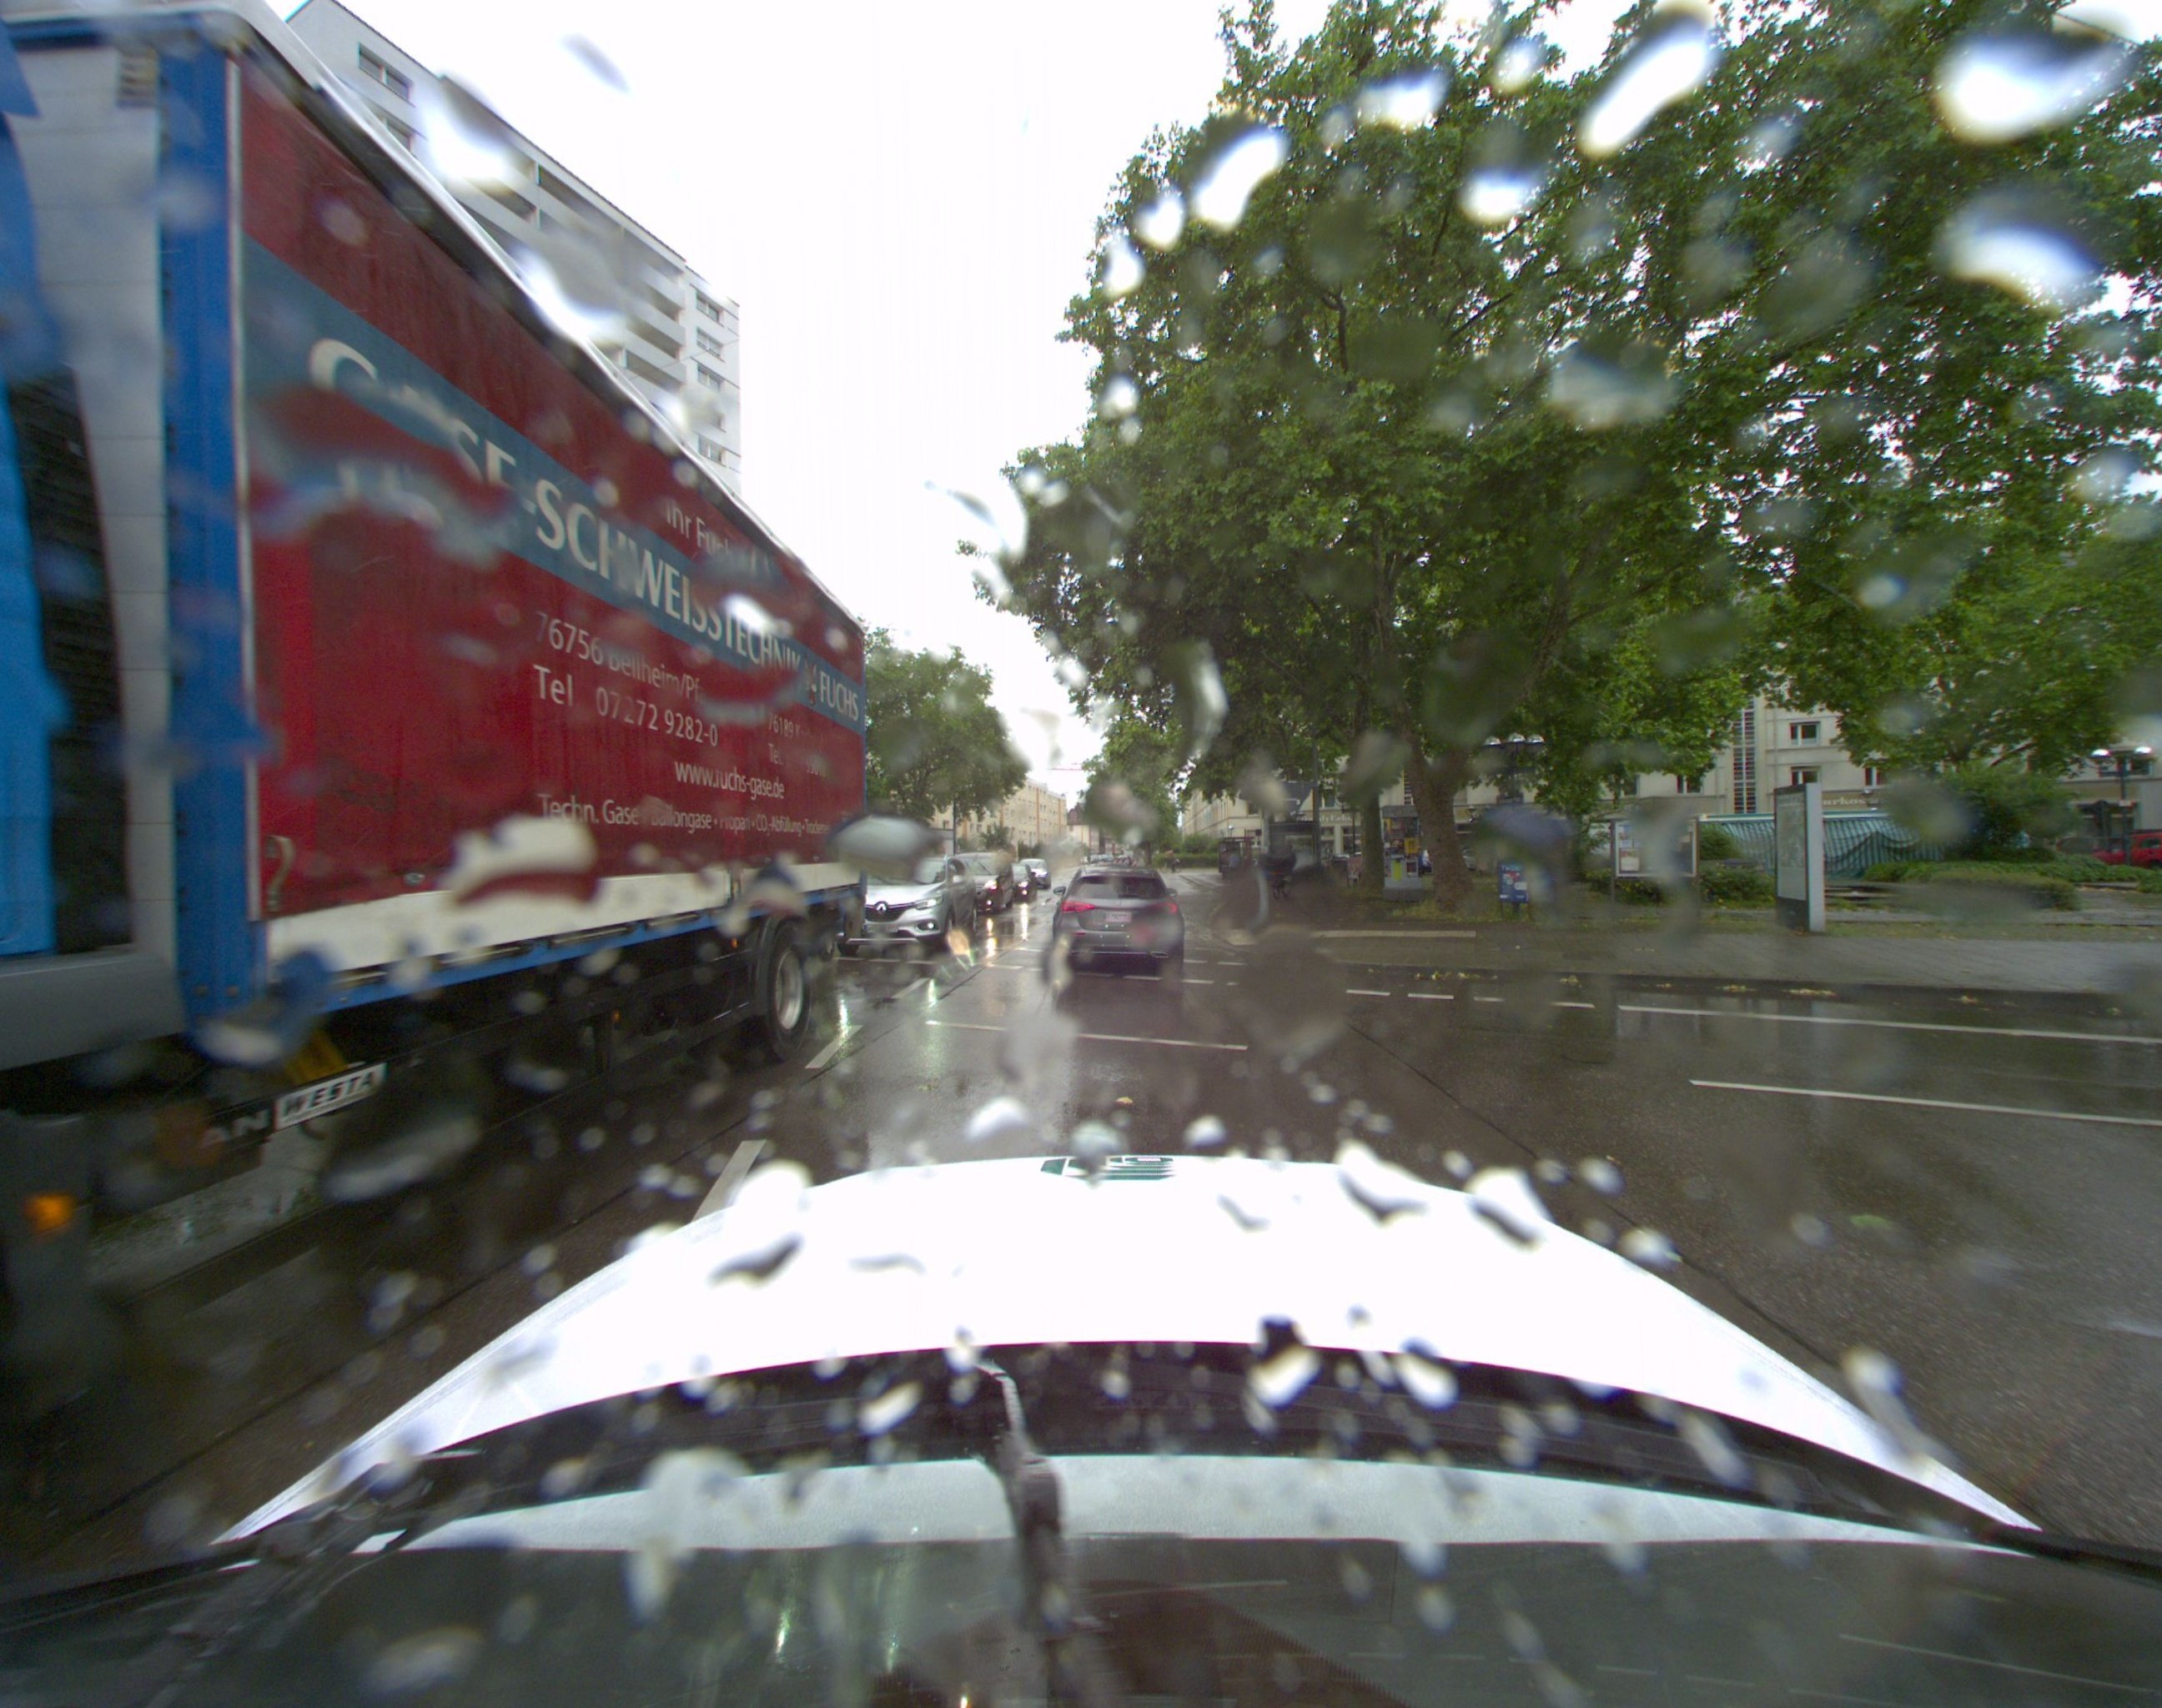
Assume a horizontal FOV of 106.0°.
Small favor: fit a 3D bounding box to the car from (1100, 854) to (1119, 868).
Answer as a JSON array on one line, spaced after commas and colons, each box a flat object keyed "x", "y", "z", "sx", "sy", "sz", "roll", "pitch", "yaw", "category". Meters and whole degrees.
[{"x": 3.303, "y": 0.816, "z": 94.402, "sx": 1.987, "sy": 1.574, "sz": 4.000, "roll": -1, "pitch": 0, "yaw": 0, "category": "car"}]

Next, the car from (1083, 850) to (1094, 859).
[{"x": 1.616, "y": 0.178, "z": 170.390, "sx": 1.880, "sy": 1.836, "sz": 4.006, "roll": -1, "pitch": 0, "yaw": 5, "category": "car"}]

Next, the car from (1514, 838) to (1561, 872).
[{"x": 26.746, "y": 0.083, "z": 47.833, "sx": 2.135, "sy": 1.838, "sz": 4.023, "roll": -2, "pitch": -2, "yaw": 26, "category": "car"}]

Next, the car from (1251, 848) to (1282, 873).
[{"x": 12.333, "y": 0.457, "z": 54.064, "sx": 1.675, "sy": 1.551, "sz": 3.537, "roll": -2, "pitch": -2, "yaw": 17, "category": "car"}]

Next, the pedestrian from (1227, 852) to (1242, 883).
[{"x": 8.230, "y": 0.714, "z": 43.708, "sx": 0.713, "sy": 1.669, "sz": 0.666, "roll": -1, "pitch": 0, "yaw": 3, "category": "pedestrian"}]

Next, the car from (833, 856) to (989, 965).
[{"x": -2.801, "y": 0.854, "z": 14.317, "sx": 1.736, "sy": 1.604, "sz": 4.002, "roll": -1, "pitch": 0, "yaw": 2, "category": "car"}]

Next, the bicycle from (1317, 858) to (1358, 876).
[{"x": 15.104, "y": 0.764, "z": 47.990, "sx": 2.261, "sy": 0.983, "sz": 0.548, "roll": -2, "pitch": 0, "yaw": 24, "category": "bicycle"}]

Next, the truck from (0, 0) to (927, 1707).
[{"x": -3.311, "y": -0.500, "z": 4.739, "sx": 2.837, "sy": 4.025, "sz": 10.312, "roll": -2, "pitch": 0, "yaw": -1, "category": "truck"}]

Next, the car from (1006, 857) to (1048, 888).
[{"x": -2.772, "y": 0.928, "z": 42.690, "sx": 1.839, "sy": 1.510, "sz": 4.055, "roll": -1, "pitch": 0, "yaw": 0, "category": "car"}]

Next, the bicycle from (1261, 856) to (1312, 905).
[{"x": 6.466, "y": 0.799, "z": 25.526, "sx": 0.742, "sy": 1.377, "sz": 2.724, "roll": -2, "pitch": 0, "yaw": 31, "category": "bicycle"}]

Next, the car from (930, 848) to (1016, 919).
[{"x": -3.062, "y": 0.780, "z": 23.886, "sx": 1.800, "sy": 1.861, "sz": 4.111, "roll": -1, "pitch": 0, "yaw": 2, "category": "car"}]

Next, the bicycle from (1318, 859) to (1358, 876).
[{"x": 15.321, "y": 0.816, "z": 48.597, "sx": 2.231, "sy": 0.968, "sz": 0.537, "roll": -2, "pitch": 0, "yaw": 24, "category": "bicycle"}]

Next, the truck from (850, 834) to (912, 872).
[{"x": -20.609, "y": -0.094, "z": 84.070, "sx": 5.654, "sy": 3.645, "sz": 2.179, "roll": -1, "pitch": -1, "yaw": 5, "category": "truck"}]

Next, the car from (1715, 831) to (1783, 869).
[{"x": 34.958, "y": -0.151, "z": 42.742, "sx": 1.817, "sy": 1.838, "sz": 4.023, "roll": -2, "pitch": -2, "yaw": 26, "category": "car"}]

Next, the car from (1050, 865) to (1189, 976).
[{"x": 0.542, "y": 0.881, "z": 12.269, "sx": 1.785, "sy": 1.372, "sz": 3.508, "roll": 0, "pitch": 0, "yaw": 1, "category": "car"}]

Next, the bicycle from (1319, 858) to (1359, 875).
[{"x": 15.590, "y": 0.776, "z": 49.217, "sx": 2.226, "sy": 0.968, "sz": 0.588, "roll": -2, "pitch": 0, "yaw": 24, "category": "bicycle"}]

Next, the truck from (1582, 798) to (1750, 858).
[{"x": 28.723, "y": -1.217, "z": 40.314, "sx": 6.323, "sy": 2.699, "sz": 2.280, "roll": -1, "pitch": -1, "yaw": 22, "category": "truck"}]

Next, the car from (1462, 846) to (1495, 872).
[{"x": 24.261, "y": 0.347, "z": 49.681, "sx": 1.664, "sy": 1.432, "sz": 3.758, "roll": -2, "pitch": -3, "yaw": 27, "category": "car"}]

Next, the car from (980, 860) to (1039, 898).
[{"x": -2.701, "y": 0.930, "z": 31.636, "sx": 1.736, "sy": 1.389, "sz": 4.364, "roll": 0, "pitch": -1, "yaw": 2, "category": "car"}]

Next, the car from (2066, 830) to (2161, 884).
[{"x": 32.052, "y": 0.057, "z": 24.266, "sx": 1.650, "sy": 1.521, "sz": 3.695, "roll": -2, "pitch": 0, "yaw": 16, "category": "car"}]

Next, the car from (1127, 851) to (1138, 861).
[{"x": 10.257, "y": 0.345, "z": 162.441, "sx": 2.037, "sy": 1.836, "sz": 4.799, "roll": -1, "pitch": 0, "yaw": 5, "category": "car"}]

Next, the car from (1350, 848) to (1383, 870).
[{"x": 21.951, "y": 0.340, "z": 62.459, "sx": 1.976, "sy": 1.628, "sz": 4.657, "roll": 1, "pitch": 1, "yaw": 24, "category": "car"}]

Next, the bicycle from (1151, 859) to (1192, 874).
[{"x": 7.570, "y": 1.060, "z": 68.073, "sx": 3.214, "sy": 1.112, "sz": 1.048, "roll": -1, "pitch": -2, "yaw": -18, "category": "bicycle"}]

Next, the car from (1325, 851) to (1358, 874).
[{"x": 16.750, "y": 0.574, "z": 52.352, "sx": 1.568, "sy": 1.336, "sz": 3.280, "roll": -2, "pitch": -2, "yaw": 25, "category": "car"}]

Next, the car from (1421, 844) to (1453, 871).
[{"x": 21.886, "y": 0.222, "z": 50.154, "sx": 1.665, "sy": 1.575, "sz": 3.755, "roll": -1, "pitch": -1, "yaw": 22, "category": "car"}]

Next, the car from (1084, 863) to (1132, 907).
[{"x": 0.970, "y": 1.081, "z": 29.794, "sx": 1.601, "sy": 1.372, "sz": 4.001, "roll": -2, "pitch": 0, "yaw": 1, "category": "car"}]

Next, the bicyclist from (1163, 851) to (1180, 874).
[{"x": 7.544, "y": 0.737, "z": 68.019, "sx": 0.940, "sy": 1.868, "sz": 1.136, "roll": -1, "pitch": -1, "yaw": -17, "category": "bicyclist"}]

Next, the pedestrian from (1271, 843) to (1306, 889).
[{"x": 6.565, "y": 0.383, "z": 25.724, "sx": 0.737, "sy": 1.398, "sz": 1.054, "roll": -2, "pitch": 0, "yaw": 31, "category": "pedestrian"}]
